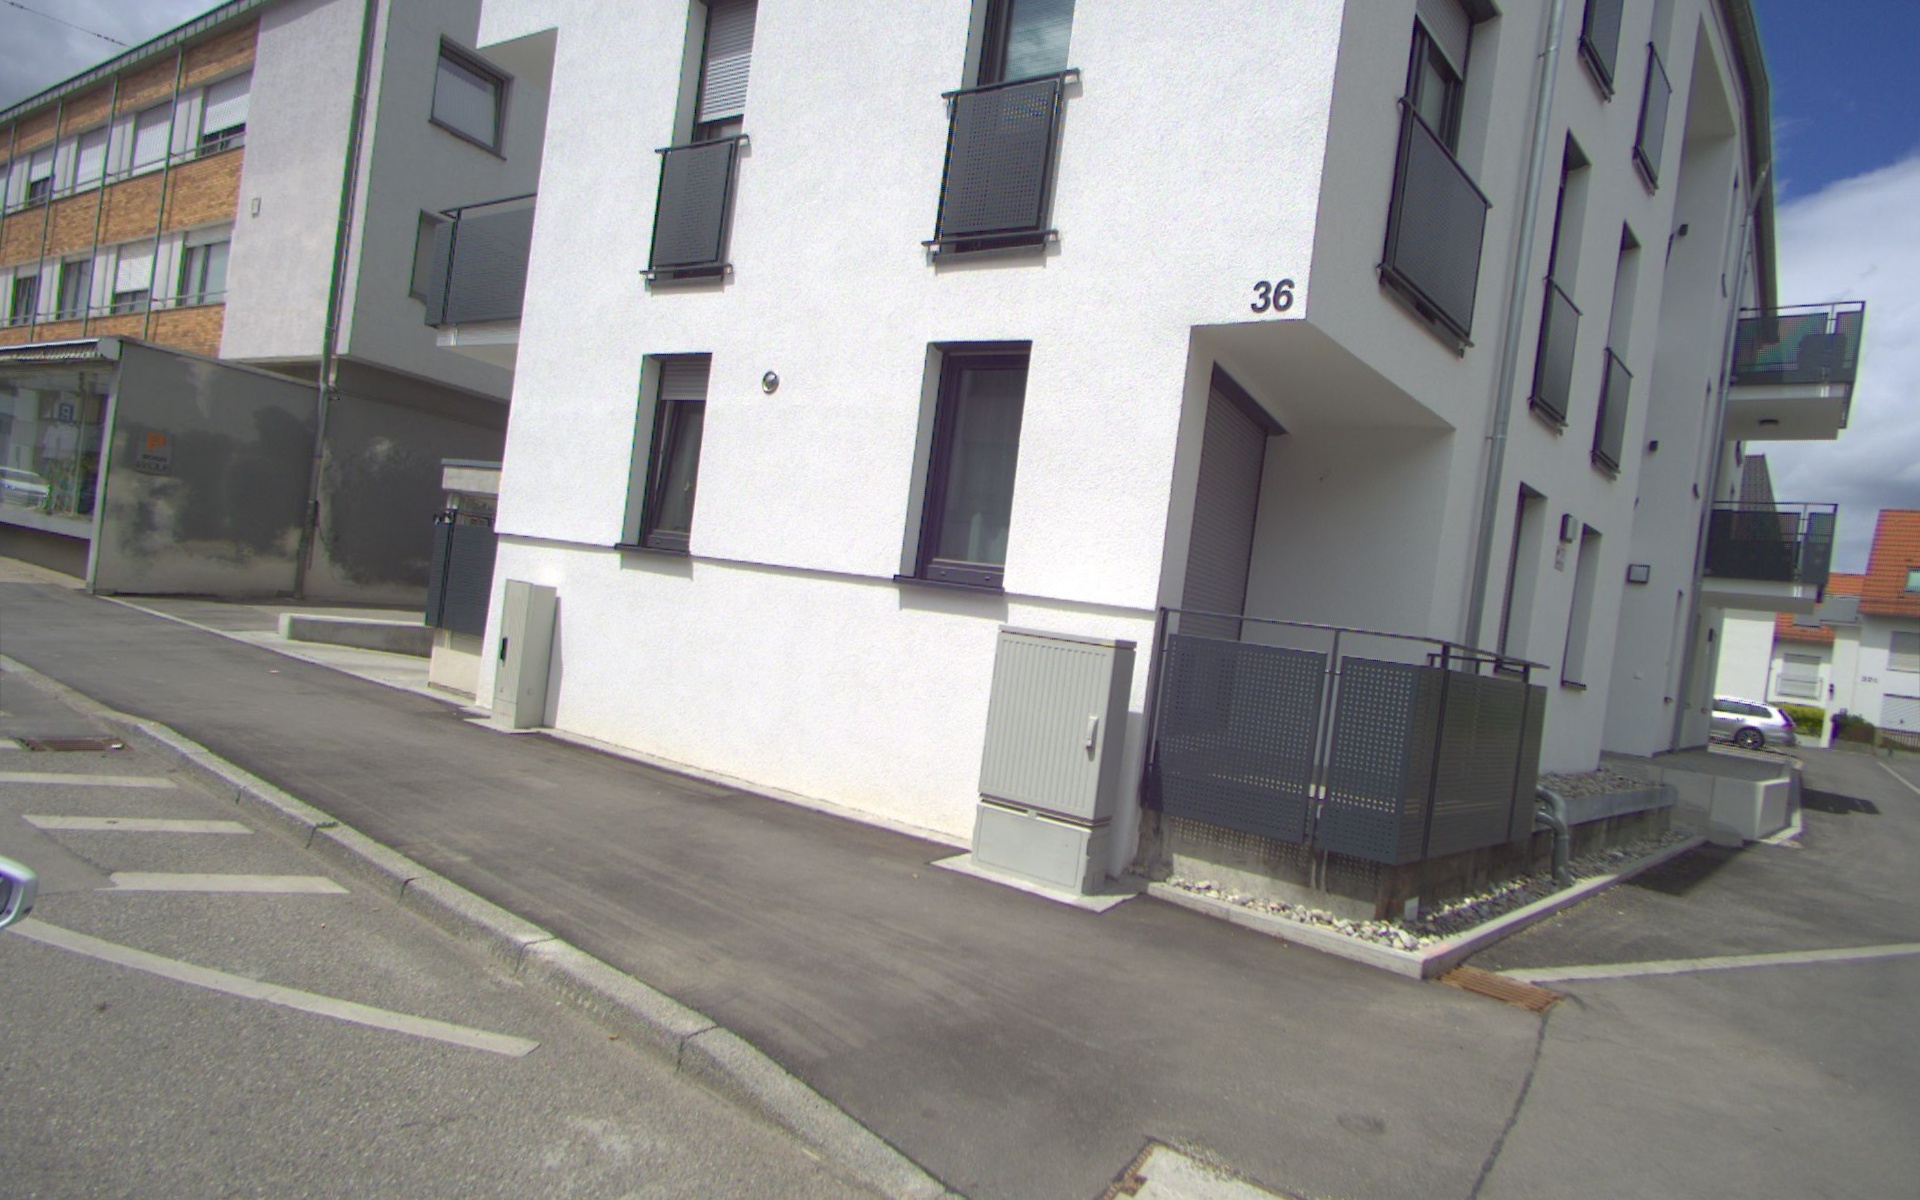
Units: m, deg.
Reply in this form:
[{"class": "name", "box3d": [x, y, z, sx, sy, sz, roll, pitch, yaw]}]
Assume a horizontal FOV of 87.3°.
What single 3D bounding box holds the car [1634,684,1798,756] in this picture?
[{"class": "car", "box3d": [23.764, 3.742, 31.704, 3.880, 1.523, 1.690, 8, 0, 42]}]
